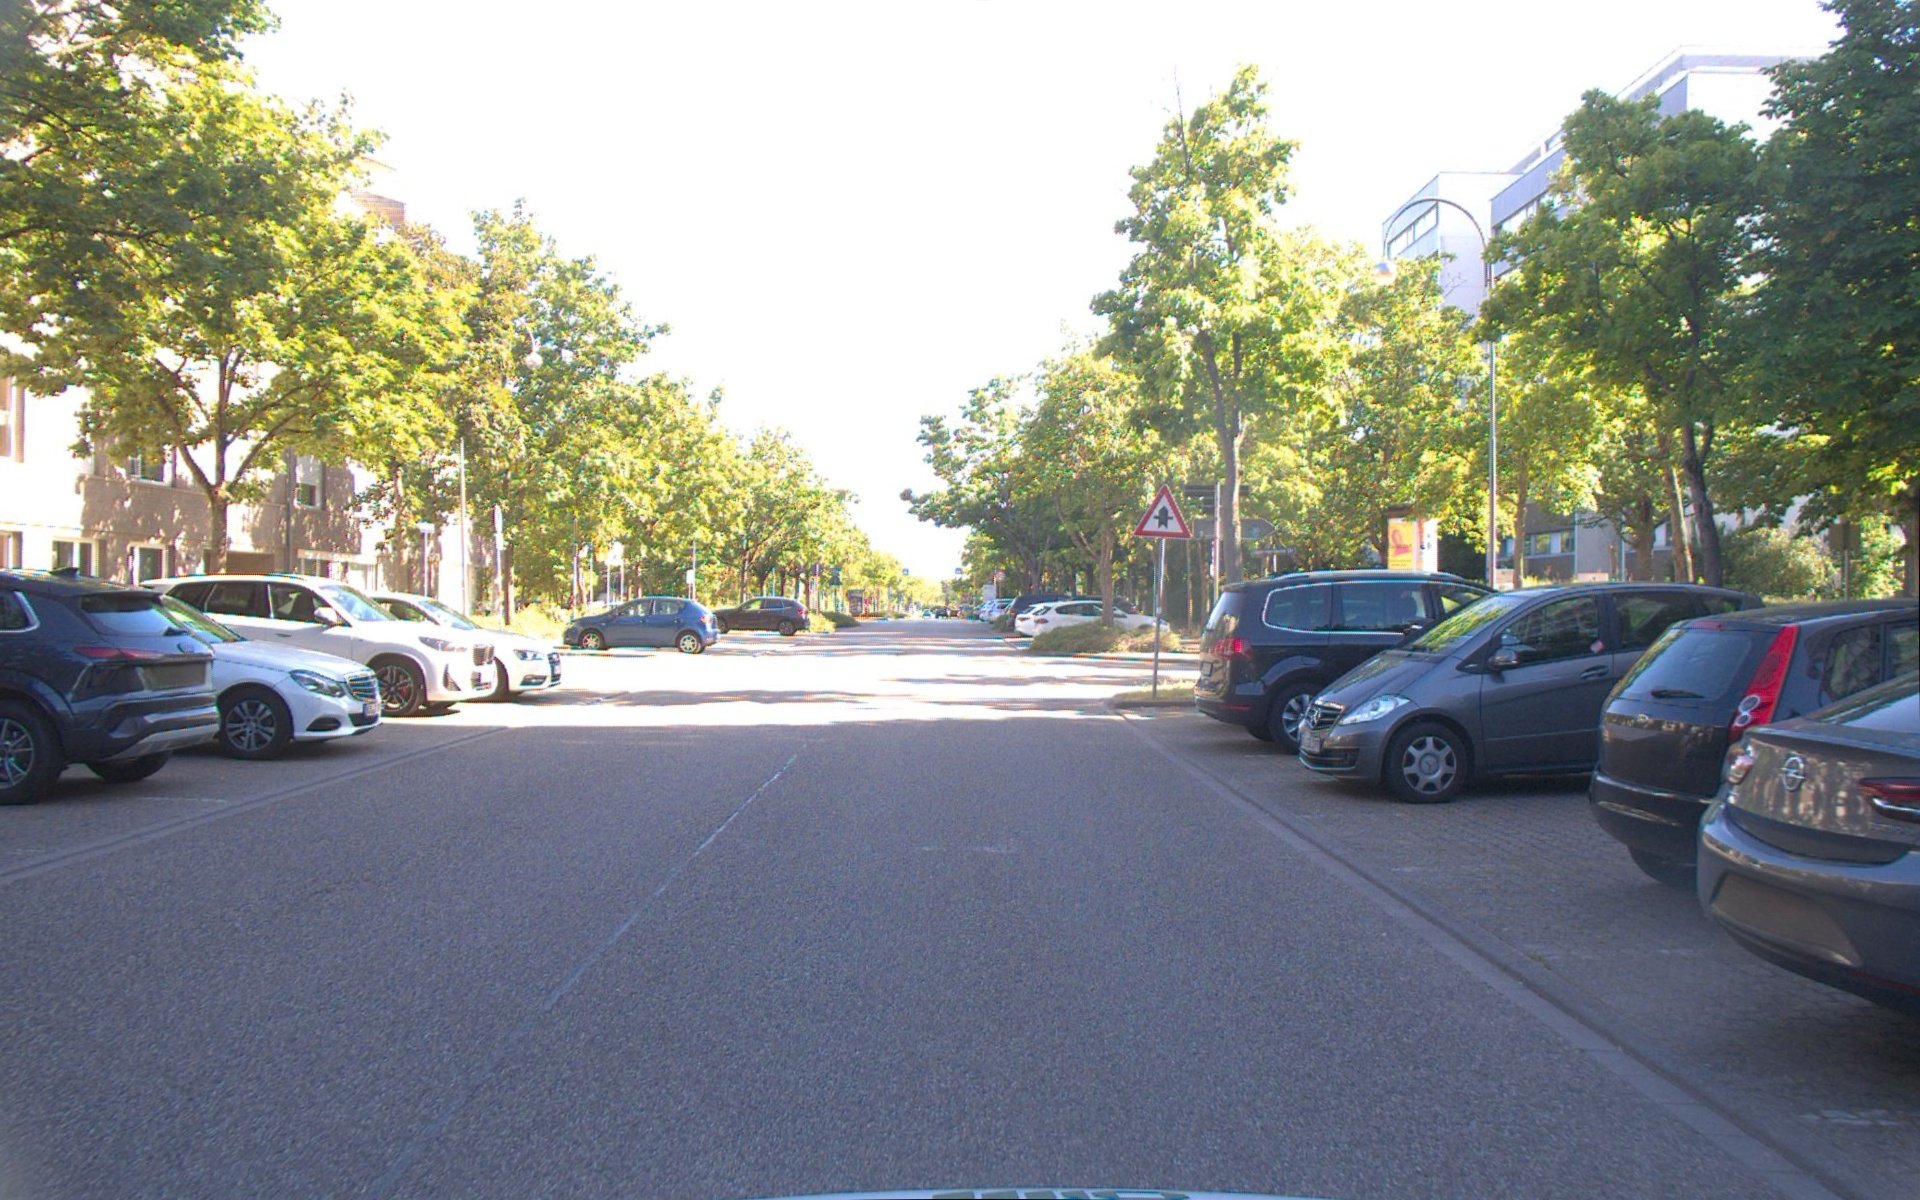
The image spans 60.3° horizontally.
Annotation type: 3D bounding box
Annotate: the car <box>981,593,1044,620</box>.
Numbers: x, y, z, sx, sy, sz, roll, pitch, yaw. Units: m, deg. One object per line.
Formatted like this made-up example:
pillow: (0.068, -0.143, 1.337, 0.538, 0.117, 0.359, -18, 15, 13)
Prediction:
car: (3.762, 0.466, 118.673, 4.346, 1.676, 1.815, -3, 0, -3)

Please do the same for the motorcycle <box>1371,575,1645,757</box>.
motorcycle: (5.049, 0.597, 15.331, 2.261, 1.607, 0.767, -1, 0, 0)

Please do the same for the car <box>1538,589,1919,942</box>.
car: (5.017, 0.697, 8.242, 3.639, 1.507, 1.722, -1, 0, -7)

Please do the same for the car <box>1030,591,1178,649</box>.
car: (4.455, 0.621, 51.467, 4.339, 1.620, 1.835, -2, 0, -4)

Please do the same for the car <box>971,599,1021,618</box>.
car: (3.044, 0.702, 140.327, 4.080, 1.453, 2.000, -3, 0, -1)

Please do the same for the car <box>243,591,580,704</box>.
car: (-7.675, 0.644, 23.448, 4.172, 1.506, 1.800, 0, 0, -2)

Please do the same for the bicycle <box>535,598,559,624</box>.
bicycle: (-17.362, 0.471, 69.586, 0.428, 1.066, 2.193, 1, 0, 0)

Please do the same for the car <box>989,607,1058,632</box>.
car: (3.930, 1.190, 102.182, 4.184, 1.453, 1.828, 0, 0, 4)

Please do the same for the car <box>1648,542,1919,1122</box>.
car: (4.763, 0.637, 5.338, 4.331, 1.580, 1.859, 0, 0, -2)

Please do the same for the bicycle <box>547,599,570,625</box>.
bicycle: (-16.878, 0.488, 69.575, 0.428, 1.066, 2.193, 1, 0, 0)

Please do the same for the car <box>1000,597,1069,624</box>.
car: (4.361, 0.587, 97.273, 3.905, 1.476, 1.717, -2, 0, -1)

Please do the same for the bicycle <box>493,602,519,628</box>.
bicycle: (-18.725, 0.614, 68.239, 0.428, 1.066, 2.193, 1, 0, 0)

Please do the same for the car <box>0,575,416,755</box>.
car: (-7.588, 0.552, 15.371, 4.420, 1.477, 1.939, 2, 0, -5)

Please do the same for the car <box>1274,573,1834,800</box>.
car: (4.623, 0.634, 13.207, 3.795, 1.592, 1.807, -1, 0, -6)

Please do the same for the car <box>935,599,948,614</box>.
car: (-2.758, 0.965, 246.652, 1.953, 2.049, 4.000, 1, 1, 0)

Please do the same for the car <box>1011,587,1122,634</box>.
car: (4.430, 0.442, 69.486, 4.493, 1.810, 2.000, -1, 0, -1)

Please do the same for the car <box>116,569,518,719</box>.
car: (-7.836, 0.534, 20.477, 4.139, 1.630, 1.952, 2, -1, 0)

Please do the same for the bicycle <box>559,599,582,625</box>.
bicycle: (-16.370, 0.508, 69.573, 0.428, 1.066, 2.193, 1, 0, 0)

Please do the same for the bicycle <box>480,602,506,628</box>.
bicycle: (-19.250, 0.616, 68.233, 0.428, 1.066, 2.193, 1, 0, 0)

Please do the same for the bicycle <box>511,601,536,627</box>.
bicycle: (-17.918, 0.564, 67.978, 0.428, 1.066, 2.193, 1, 0, 0)

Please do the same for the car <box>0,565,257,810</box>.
car: (-7.613, 0.560, 12.214, 4.028, 1.648, 1.803, 1, 0, 0)

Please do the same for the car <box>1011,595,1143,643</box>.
car: (4.044, 0.642, 57.516, 4.354, 1.572, 1.816, 1, 0, -4)

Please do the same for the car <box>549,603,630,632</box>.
car: (-20.273, 0.946, 90.599, 3.993, 1.476, 1.625, -2, 0, 1)

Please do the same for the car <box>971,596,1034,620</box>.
car: (2.975, 0.585, 115.961, 4.256, 1.515, 1.737, -2, 0, -3)

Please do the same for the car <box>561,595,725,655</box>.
car: (-8.084, 0.642, 42.411, 3.908, 1.436, 1.815, 1, 0, -4)

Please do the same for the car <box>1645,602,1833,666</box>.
car: (19.554, 0.837, 41.618, 3.906, 1.557, 1.834, 0, 0, -2)

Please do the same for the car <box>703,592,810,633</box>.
car: (-8.223, 0.507, 67.099, 4.106, 1.547, 1.772, 1, 0, 0)

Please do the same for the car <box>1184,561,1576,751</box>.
car: (4.208, 0.552, 17.000, 3.596, 1.781, 1.725, -1, 0, 1)

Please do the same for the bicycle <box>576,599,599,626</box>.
bicycle: (-15.315, 0.509, 68.078, 0.428, 1.066, 2.193, 1, 0, 0)
